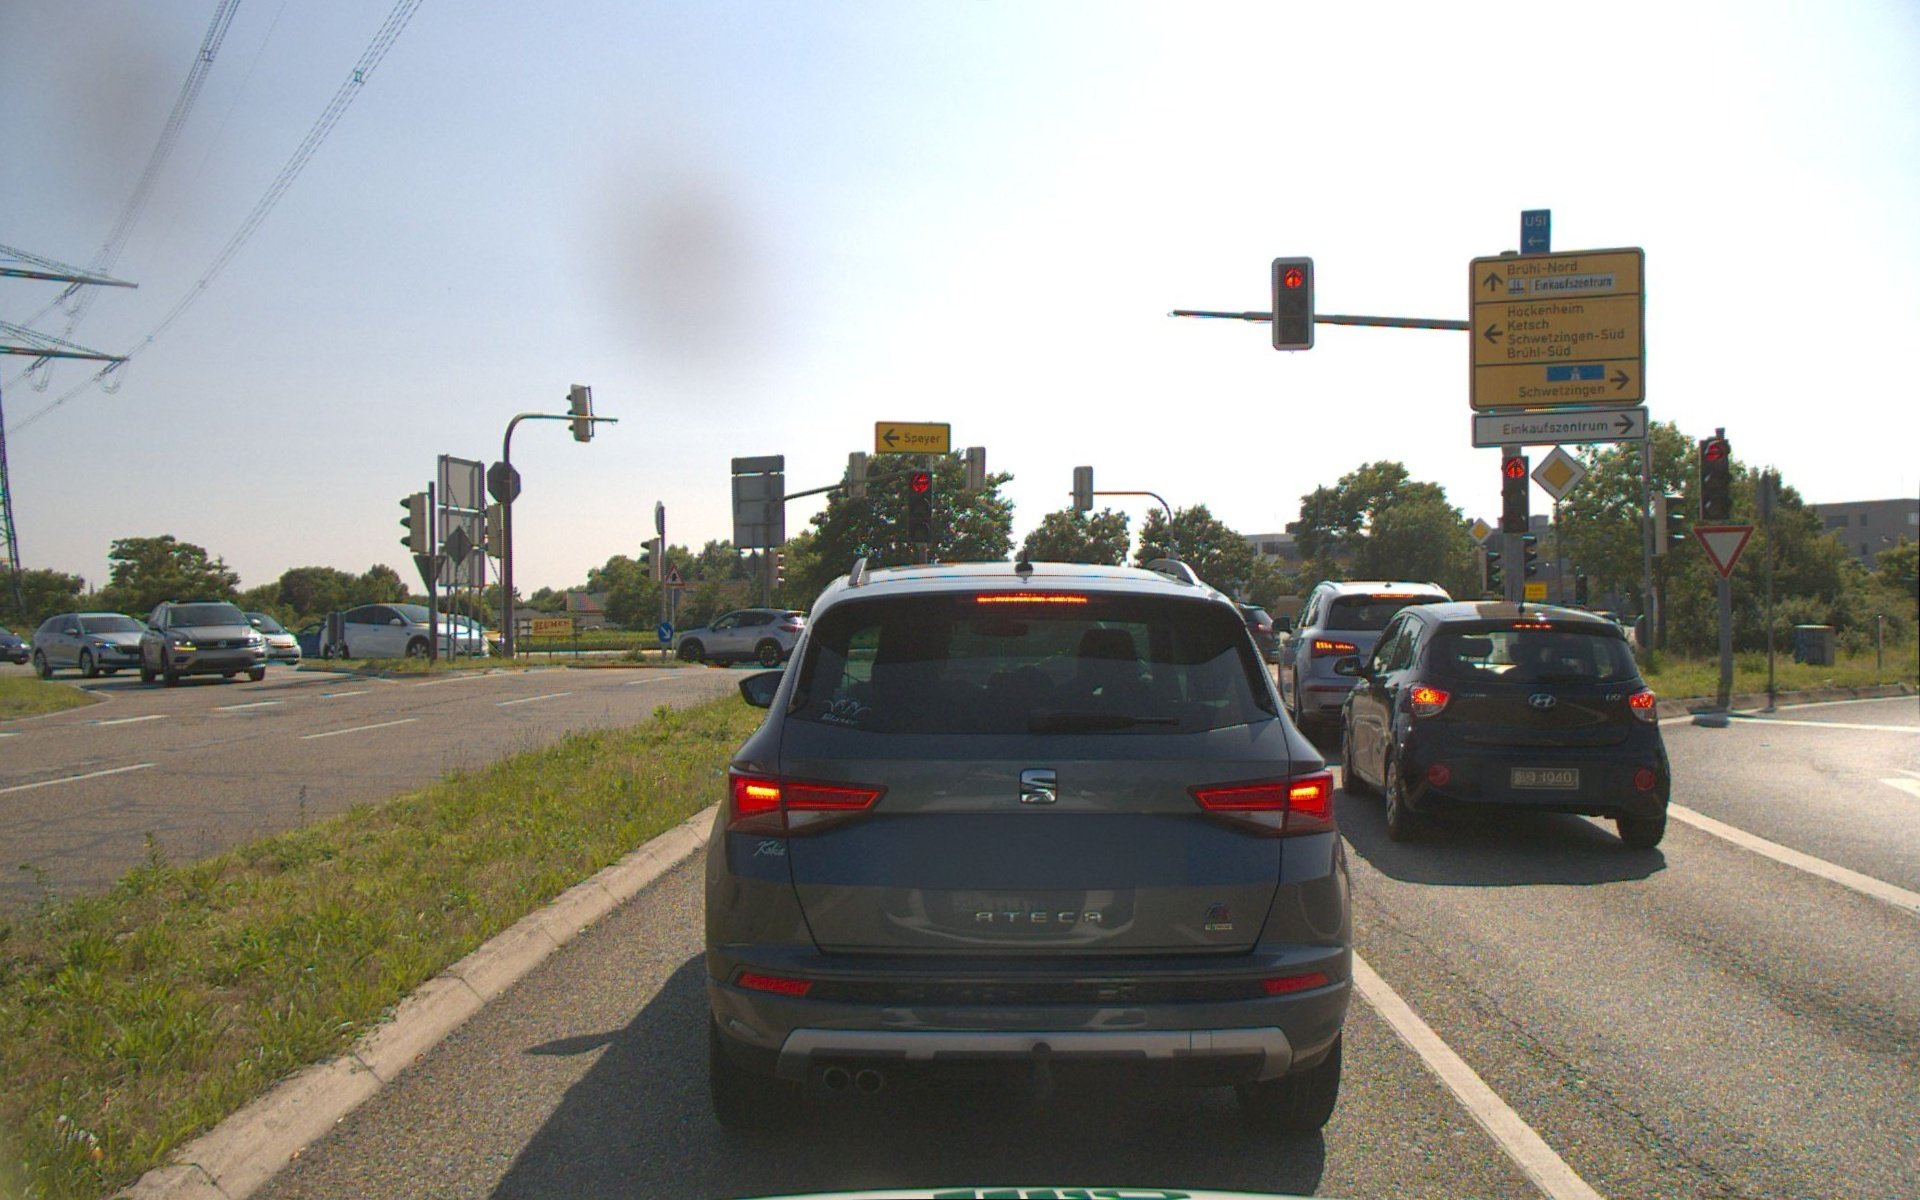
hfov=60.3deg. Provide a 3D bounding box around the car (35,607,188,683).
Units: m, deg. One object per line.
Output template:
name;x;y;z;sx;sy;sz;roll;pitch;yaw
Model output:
car;-20.047;1.028;39.032;3.924;1.680;1.811;-1;-1;39

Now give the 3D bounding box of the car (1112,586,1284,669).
car;5.921;0.683;41.173;3.927;1.987;1.695;0;-1;25

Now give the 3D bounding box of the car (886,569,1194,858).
car;0.458;0.651;11.144;1.706;1.596;3.624;1;0;0

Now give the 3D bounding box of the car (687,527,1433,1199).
car;0.212;0.657;5.654;1.706;1.596;3.623;1;0;-1

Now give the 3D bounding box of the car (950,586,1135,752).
car;0.912;0.654;17.272;1.705;1.510;3.626;1;0;4

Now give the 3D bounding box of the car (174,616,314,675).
car;-21.472;1.338;49.574;3.910;1.680;1.818;-1;0;27

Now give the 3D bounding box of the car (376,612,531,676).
car;-13.889;1.182;45.327;3.910;1.680;1.818;-1;0;27

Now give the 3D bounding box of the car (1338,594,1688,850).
car;3.622;0.713;11.380;1.598;1.473;3.297;1;0;6

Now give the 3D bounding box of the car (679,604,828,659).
car;-5.973;0.907;47.805;3.944;1.545;1.806;-1;0;25

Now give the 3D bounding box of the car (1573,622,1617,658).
car;31.591;1.953;82.244;1.839;1.702;3.767;1;0;24

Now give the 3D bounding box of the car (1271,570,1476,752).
car;4.287;0.581;17.620;1.598;1.706;3.752;1;0;6

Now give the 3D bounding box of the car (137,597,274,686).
car;-15.307;0.812;33.458;1.800;1.680;3.949;0;0;-36

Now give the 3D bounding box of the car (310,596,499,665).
car;-14.058;0.756;41.810;4.653;1.680;1.818;-1;0;27

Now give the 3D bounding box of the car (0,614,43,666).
car;-32.673;1.338;55.178;3.910;1.680;1.818;-1;0;27

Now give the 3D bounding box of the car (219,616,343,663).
car;-23.203;1.323;56.524;3.789;1.545;1.807;-1;0;23
